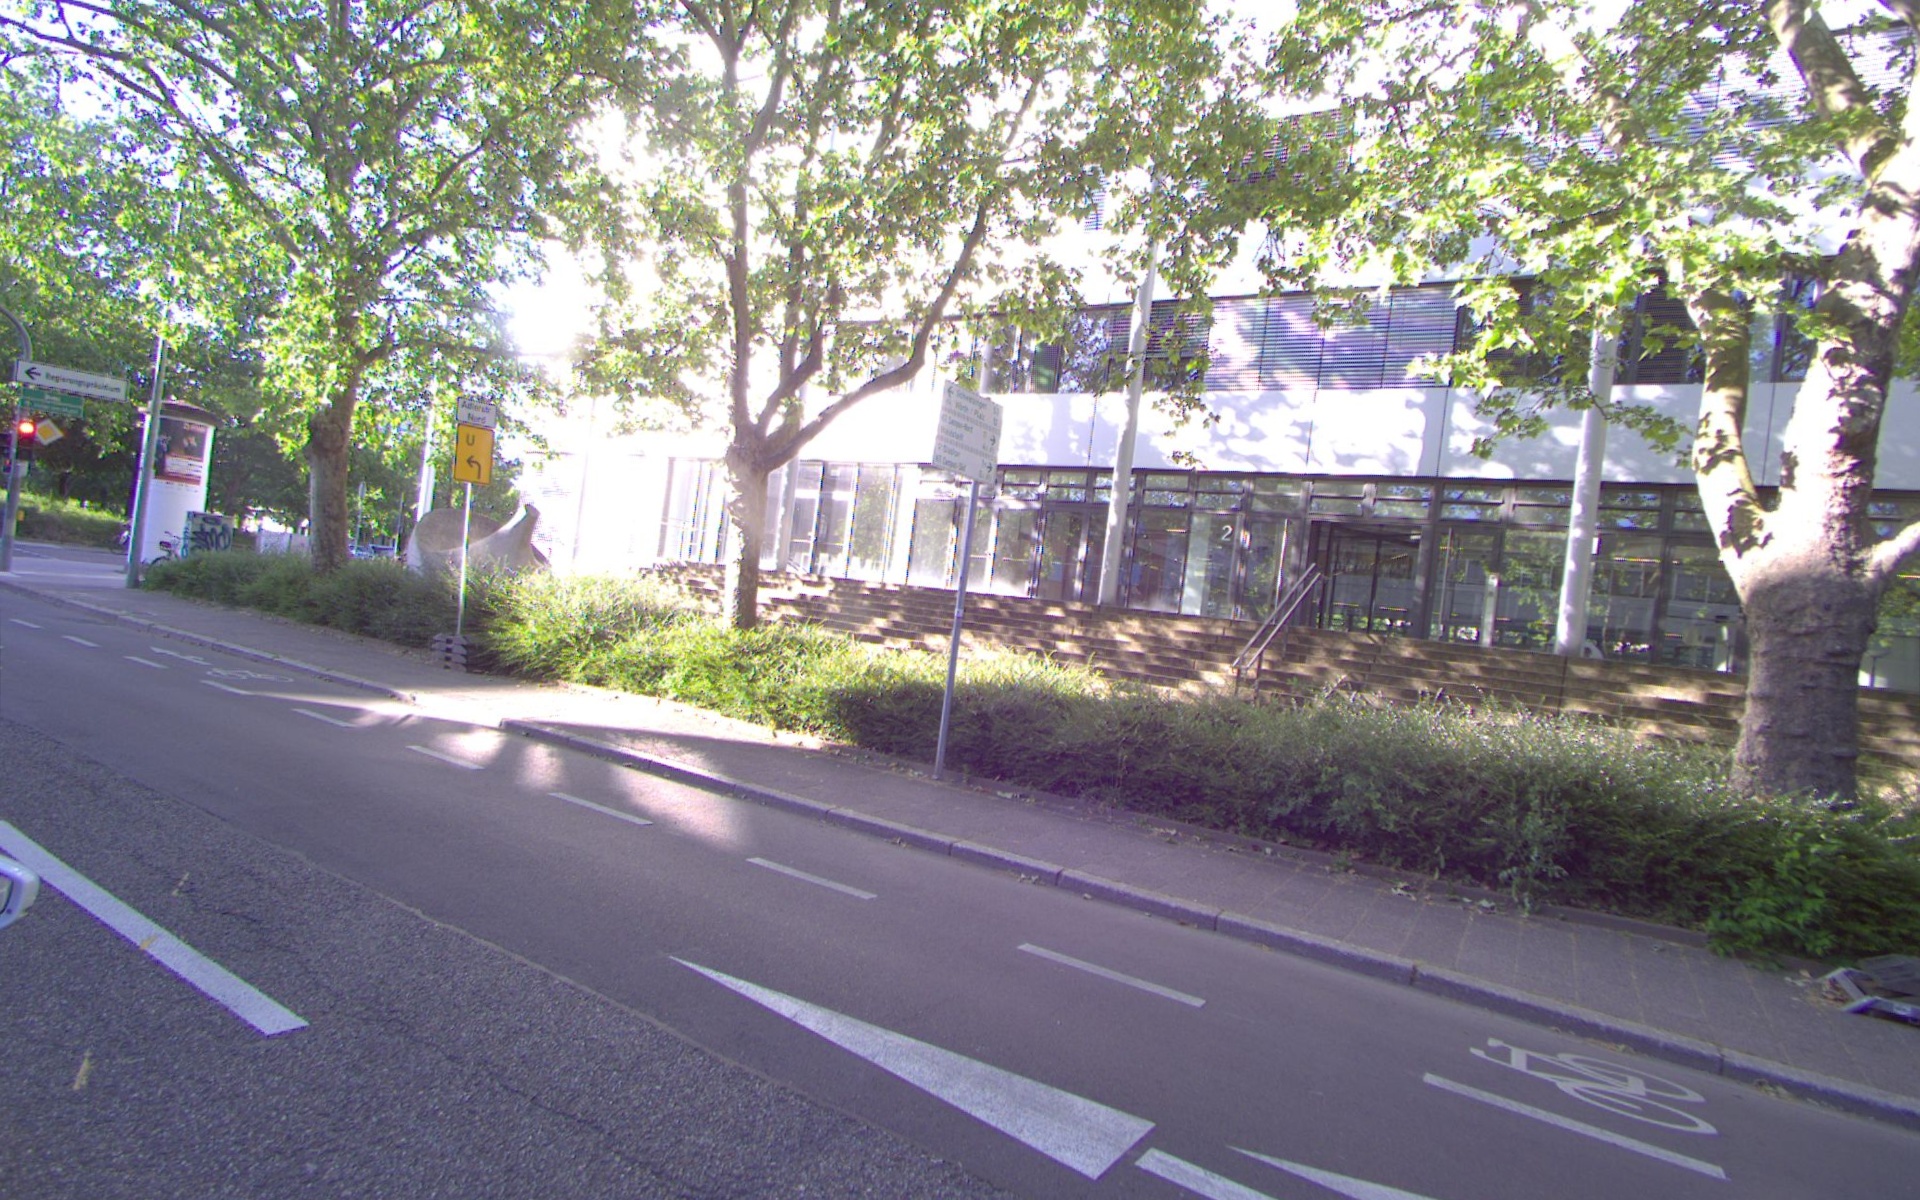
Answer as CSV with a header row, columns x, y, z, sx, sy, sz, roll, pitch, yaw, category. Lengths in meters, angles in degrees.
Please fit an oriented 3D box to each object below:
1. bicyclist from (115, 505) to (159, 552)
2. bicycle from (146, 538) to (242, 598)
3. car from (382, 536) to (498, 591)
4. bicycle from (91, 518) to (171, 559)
x,y,z,sx,sy,sz,roll,pitch,yaw,category
-30.470,-2.643,37.235,0.869,1.572,0.816,7,0,22,bicyclist
-16.052,-0.661,21.117,0.529,1.049,1.418,7,-1,28,bicycle
-23.027,-1.585,44.666,1.969,1.805,3.999,7,-2,36,car
-30.565,-2.246,37.127,0.869,1.199,2.004,7,-1,22,bicycle
